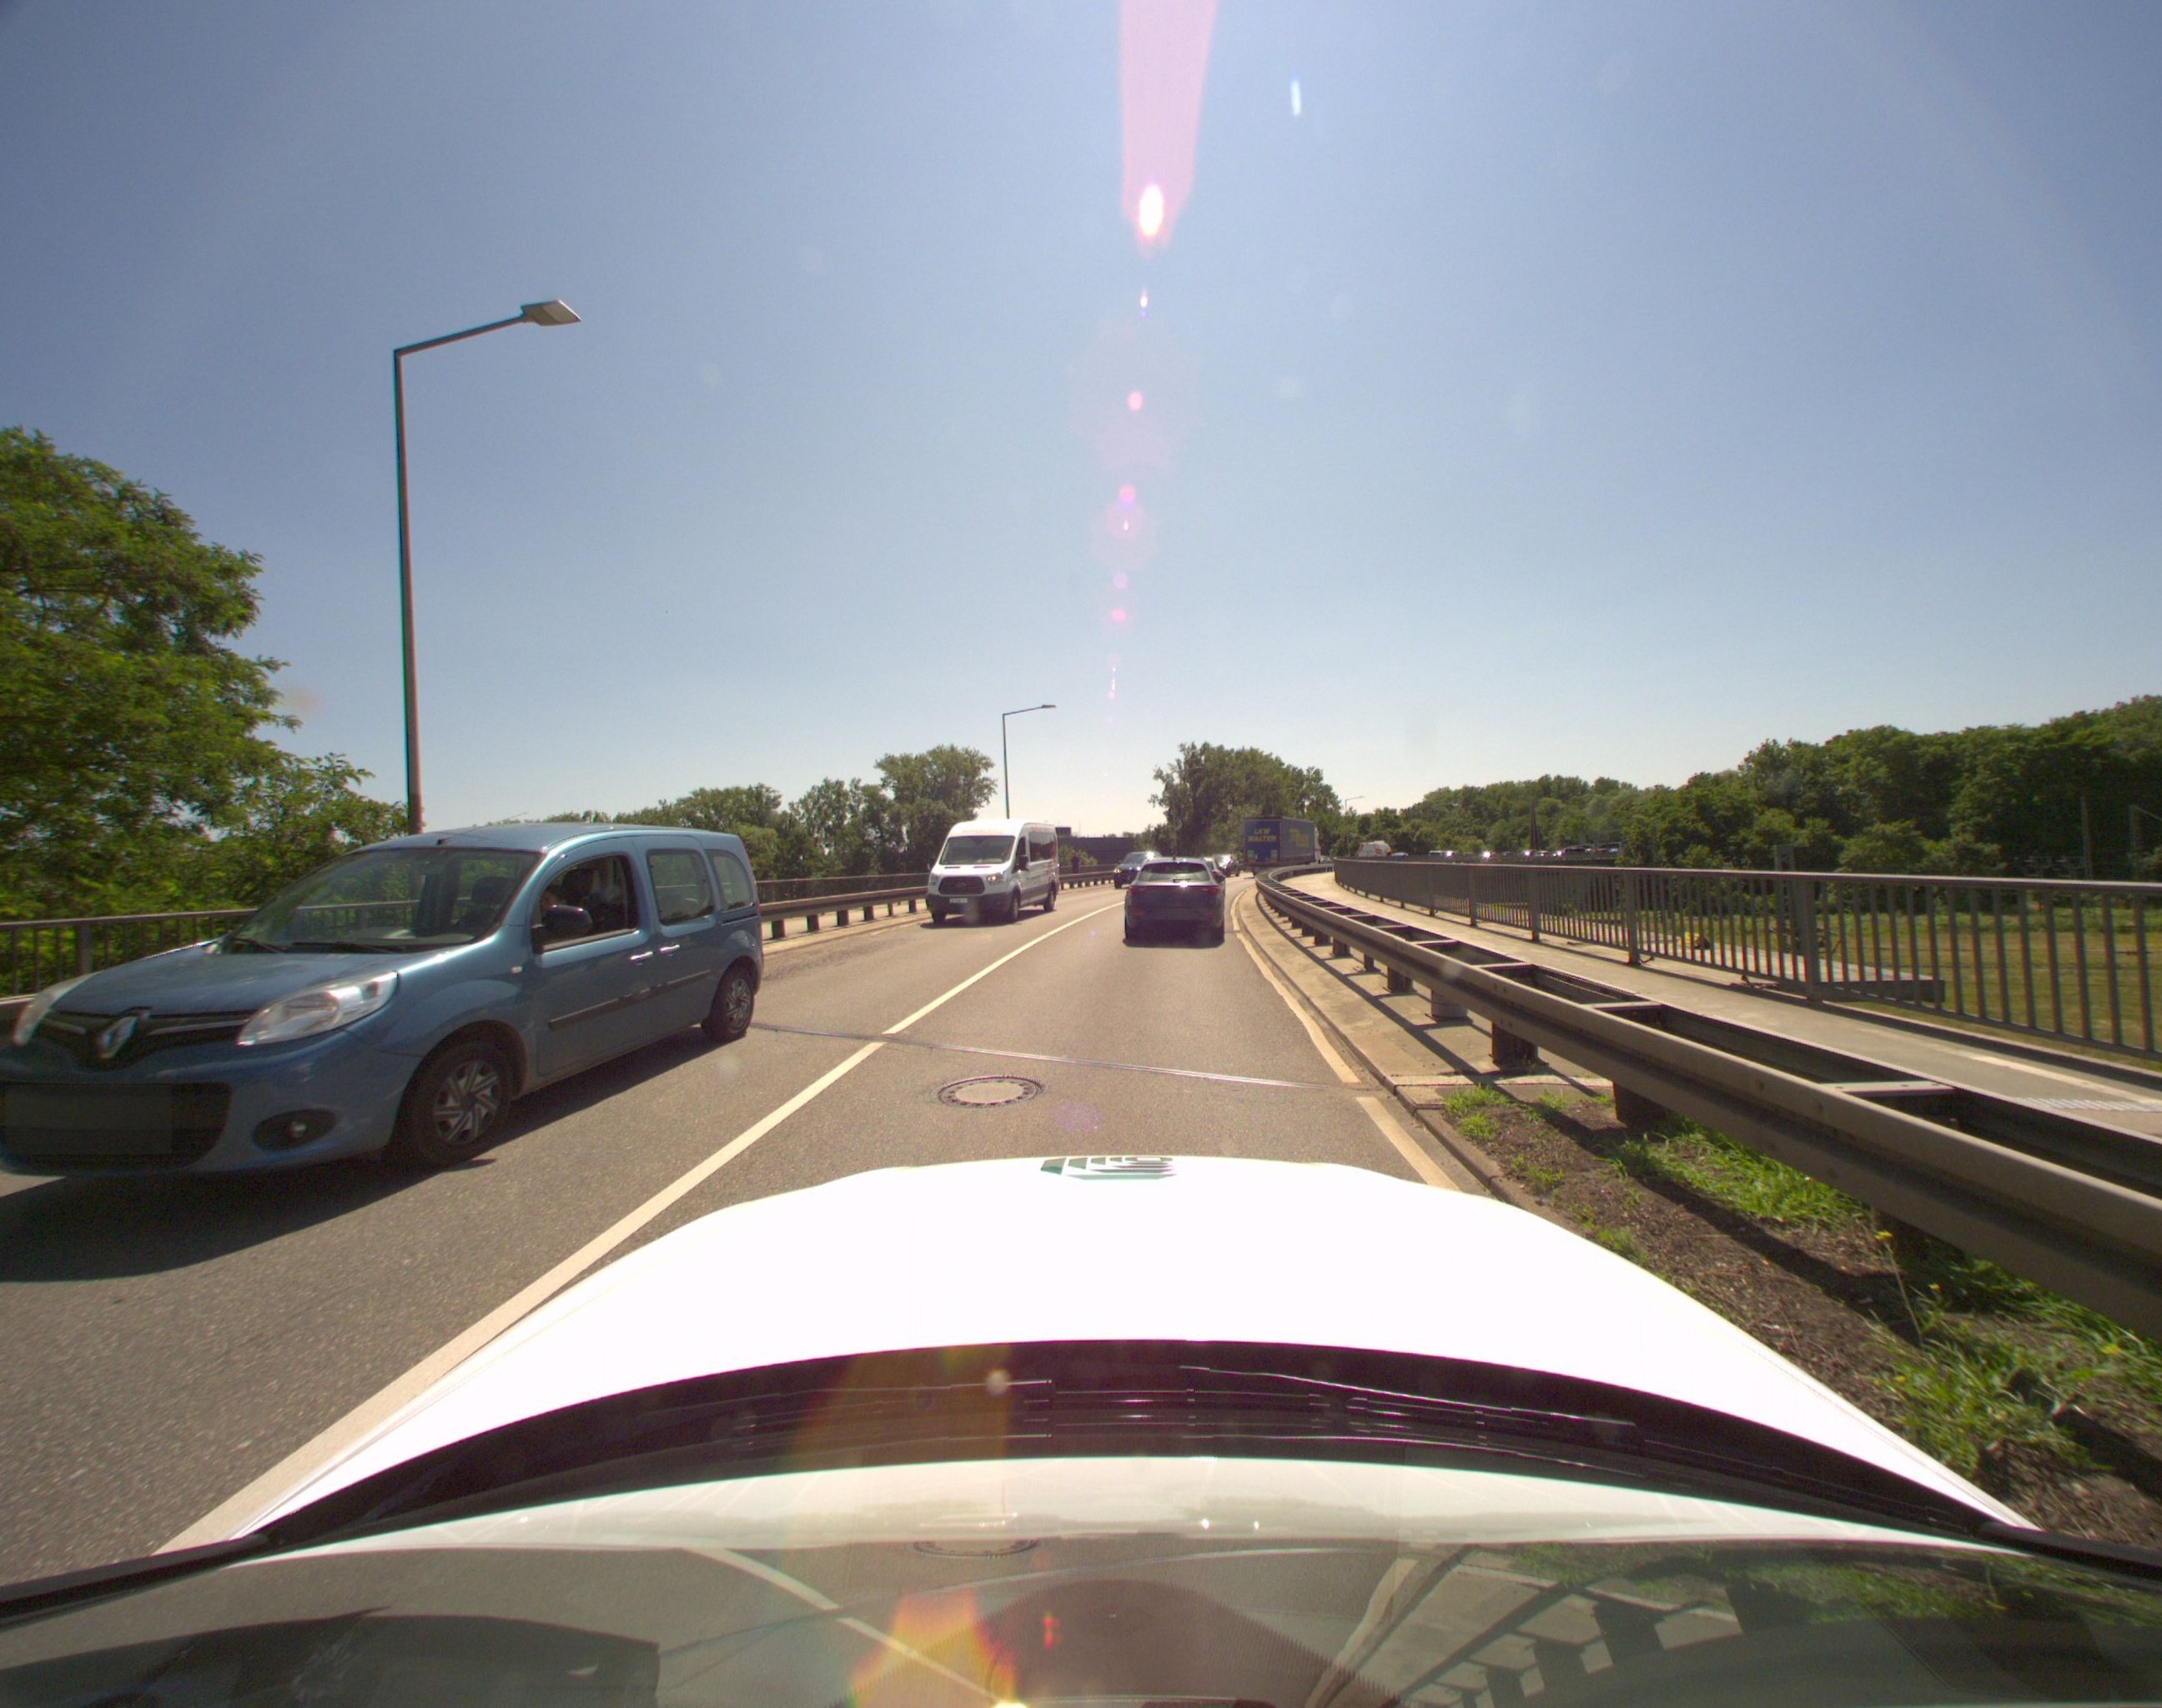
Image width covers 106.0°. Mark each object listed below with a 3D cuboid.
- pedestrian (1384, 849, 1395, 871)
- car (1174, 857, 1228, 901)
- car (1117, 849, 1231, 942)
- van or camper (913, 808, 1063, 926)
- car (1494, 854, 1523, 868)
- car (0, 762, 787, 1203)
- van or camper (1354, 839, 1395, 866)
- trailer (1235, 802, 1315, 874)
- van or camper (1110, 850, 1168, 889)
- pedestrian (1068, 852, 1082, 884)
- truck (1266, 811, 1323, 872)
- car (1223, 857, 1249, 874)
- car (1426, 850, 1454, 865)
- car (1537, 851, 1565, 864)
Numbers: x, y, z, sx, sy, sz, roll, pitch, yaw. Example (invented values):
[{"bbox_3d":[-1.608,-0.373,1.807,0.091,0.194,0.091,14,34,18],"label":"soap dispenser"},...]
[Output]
[{"bbox_3d":[27.846,0.509,73.507,0.729,1.967,0.739,-1,-1,33],"label":"pedestrian"},{"bbox_3d":[4.303,0.844,28.824,1.582,1.461,3.557,0,0,13],"label":"car"},{"bbox_3d":[1.754,0.683,15.206,1.836,1.499,3.765,-1,0,7],"label":"car"},{"bbox_3d":[-2.094,0.267,20.575,2.035,2.537,5.901,-1,0,11],"label":"van or camper"},{"bbox_3d":[59.341,0.990,112.976,4.016,1.850,1.875,1,-1,-34],"label":"car"},{"bbox_3d":[-3.814,0.558,5.615,1.749,1.855,4.280,0,0,4],"label":"car"},{"bbox_3d":[31.027,-0.191,86.005,2.182,2.711,5.963,-1,0,39],"label":"van or camper"},{"bbox_3d":[14.233,-0.957,58.698,3.106,4.614,13.021,0,0,24],"label":"trailer"},{"bbox_3d":[2.929,0.749,40.414,1.979,1.761,4.716,-2,-1,15],"label":"van or camper"},{"bbox_3d":[-0.331,0.764,45.274,0.633,1.782,0.815,0,-1,14],"label":"pedestrian"},{"bbox_3d":[17.128,-0.860,65.034,3.141,4.585,7.438,0,-1,25],"label":"truck"},{"bbox_3d":[13.814,1.022,72.398,1.775,1.419,3.791,-3,-2,18],"label":"car"},{"bbox_3d":[43.624,0.436,98.976,1.871,1.850,4.023,-1,-1,45],"label":"car"},{"bbox_3d":[68.353,0.563,118.509,4.014,1.850,1.875,1,-1,-33],"label":"car"}]
